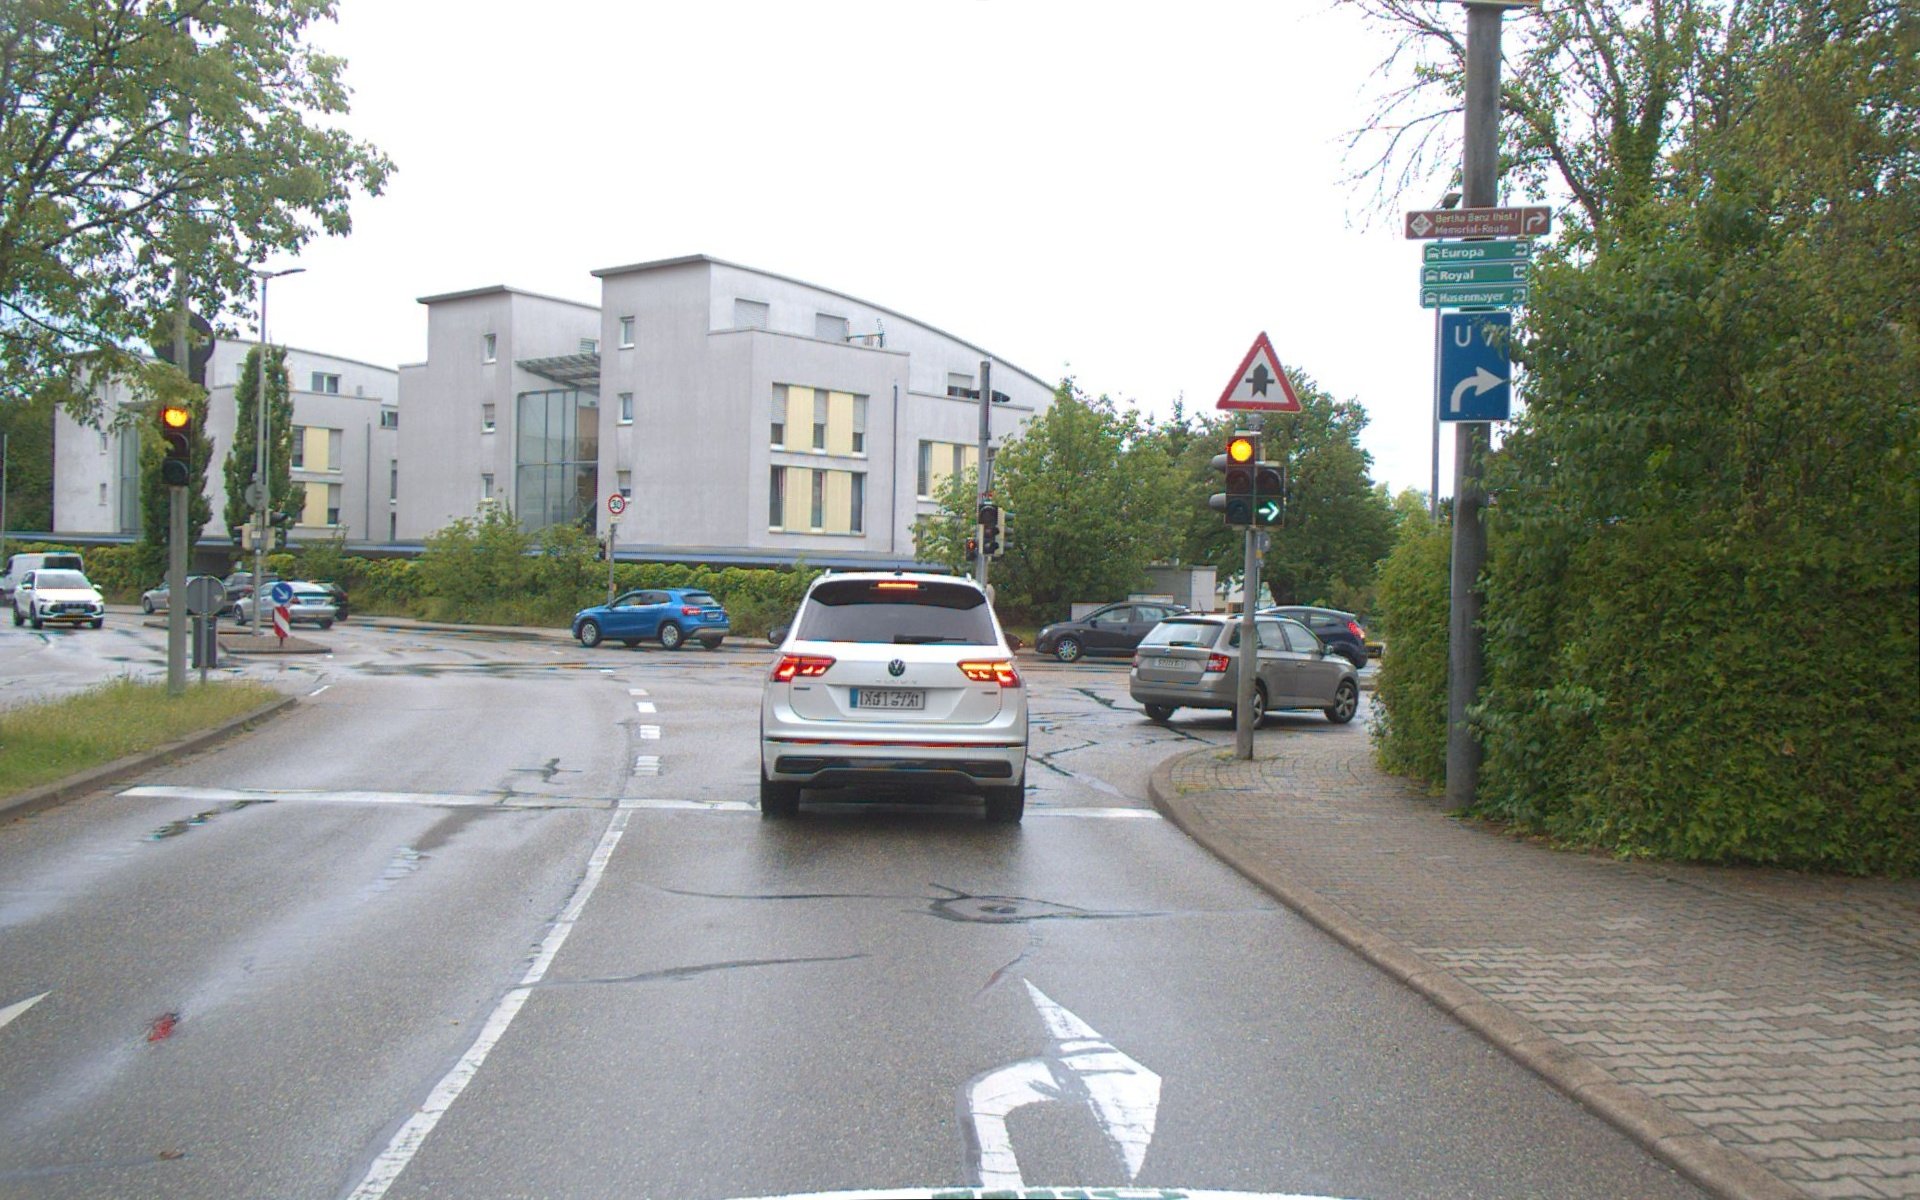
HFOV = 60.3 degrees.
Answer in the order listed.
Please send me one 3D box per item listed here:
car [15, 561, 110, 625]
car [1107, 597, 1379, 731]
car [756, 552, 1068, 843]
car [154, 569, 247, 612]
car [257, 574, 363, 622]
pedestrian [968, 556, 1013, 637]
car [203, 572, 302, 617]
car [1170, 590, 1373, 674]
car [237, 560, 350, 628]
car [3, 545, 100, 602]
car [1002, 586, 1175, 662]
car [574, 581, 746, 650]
[{"bbox_3d":[-26.106,-0.221,48.059,1.977,1.668,3.952,1,1,-35],"label":"car"},{"bbox_3d":[3.970,0.810,22.799,1.741,1.535,3.974,6,4,43],"label":"car"},{"bbox_3d":[-0.497,0.609,12.339,1.884,1.752,4.259,2,0,-6],"label":"car"},{"bbox_3d":[-30.018,-0.391,65.330,3.930,1.582,1.988,2,2,42],"label":"car"},{"bbox_3d":[-23.242,-0.099,59.093,3.930,1.582,1.988,2,2,42],"label":"car"},{"bbox_3d":[0.788,-0.101,42.833,0.784,2.048,0.848,3,2,30],"label":"pedestrian"},{"bbox_3d":[-26.575,-0.231,62.046,3.930,1.582,1.988,2,2,42],"label":"car"},{"bbox_3d":[6.450,0.642,34.617,3.904,1.527,1.927,3,0,3],"label":"car"},{"bbox_3d":[-20.946,-0.207,51.915,1.984,1.788,3.939,1,4,-43],"label":"car"},{"bbox_3d":[-41.517,-1.154,75.528,5.168,2.456,2.582,-1,-1,45],"label":"car"},{"bbox_3d":[3.041,0.534,38.701,3.902,1.578,2.002,1,3,7],"label":"car"},{"bbox_3d":[-7.629,0.364,42.002,3.911,1.582,1.998,2,2,28],"label":"car"}]
